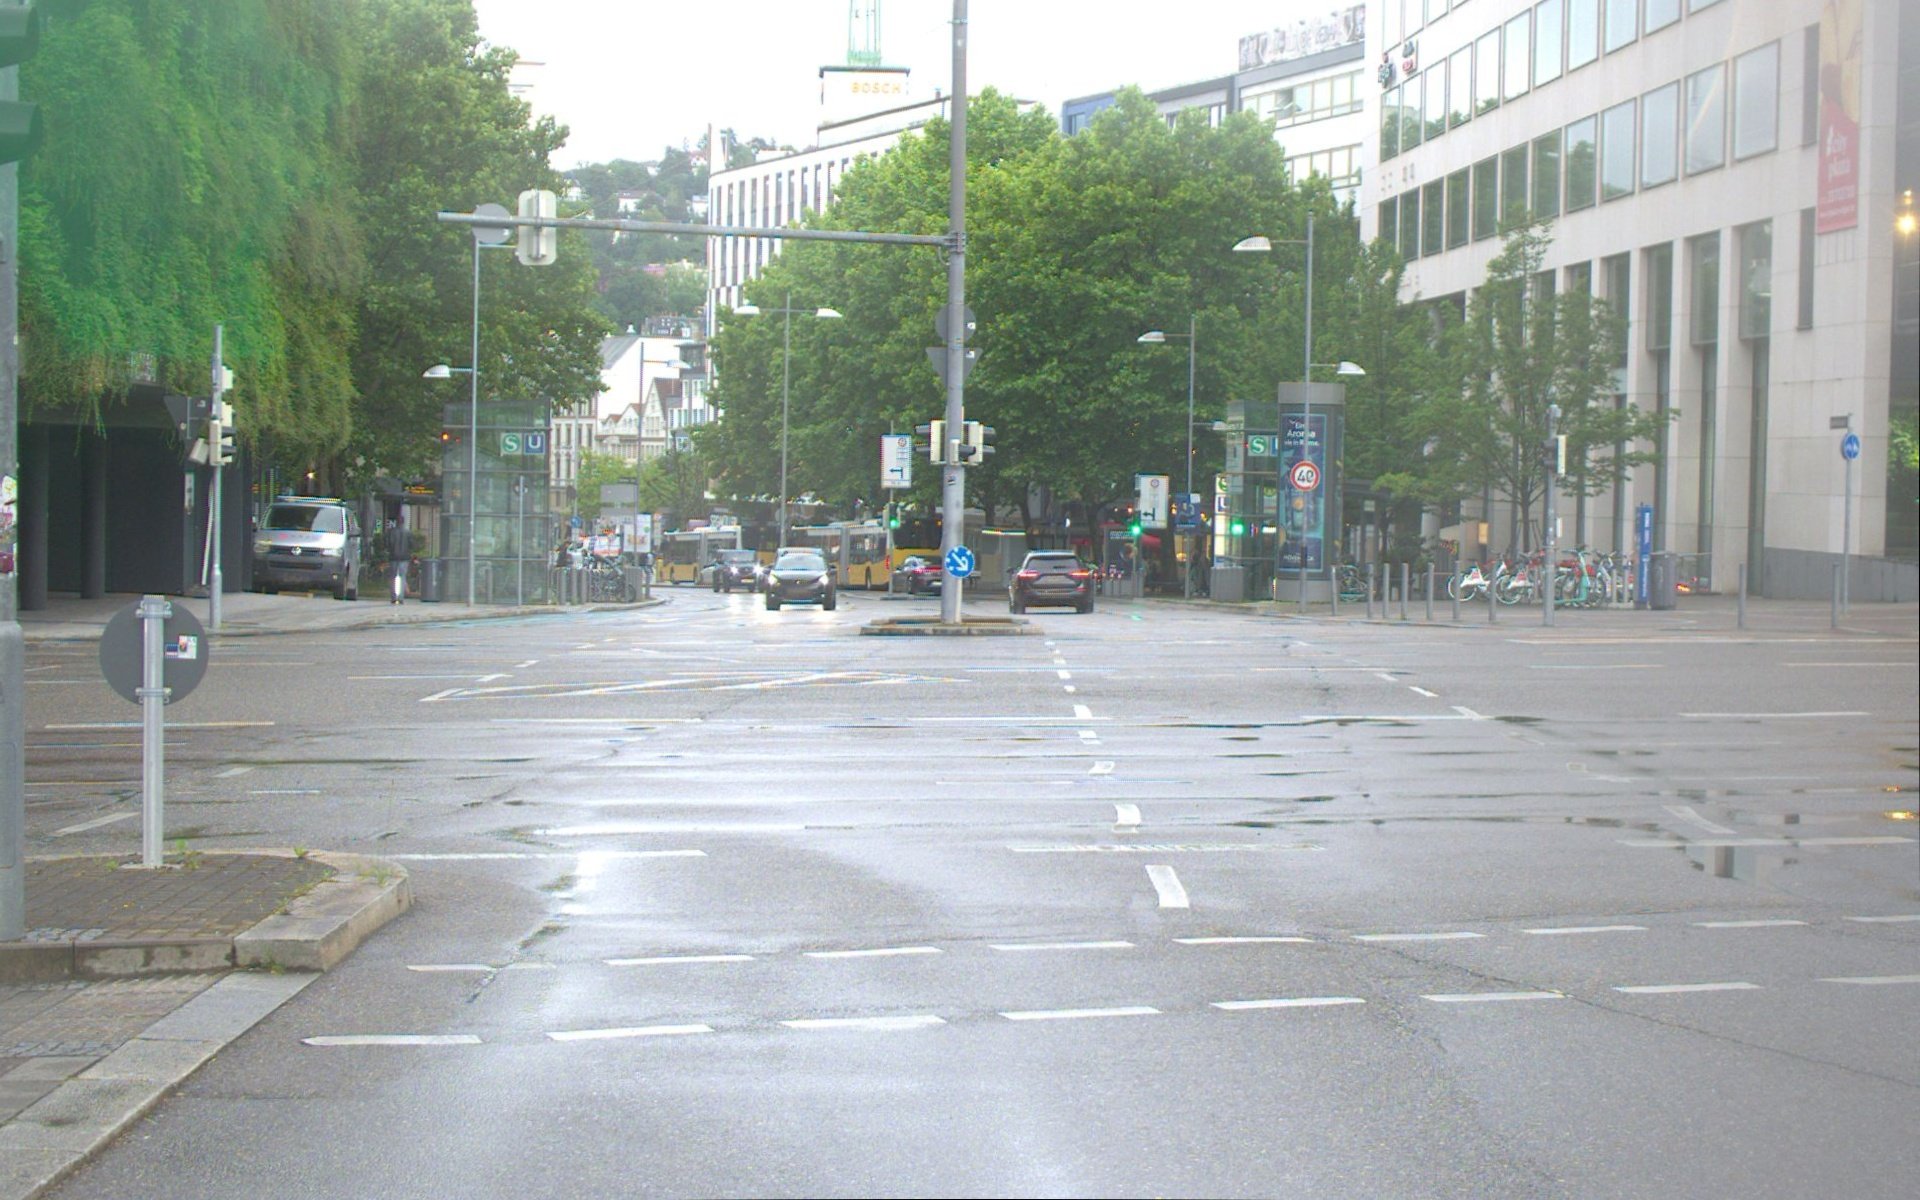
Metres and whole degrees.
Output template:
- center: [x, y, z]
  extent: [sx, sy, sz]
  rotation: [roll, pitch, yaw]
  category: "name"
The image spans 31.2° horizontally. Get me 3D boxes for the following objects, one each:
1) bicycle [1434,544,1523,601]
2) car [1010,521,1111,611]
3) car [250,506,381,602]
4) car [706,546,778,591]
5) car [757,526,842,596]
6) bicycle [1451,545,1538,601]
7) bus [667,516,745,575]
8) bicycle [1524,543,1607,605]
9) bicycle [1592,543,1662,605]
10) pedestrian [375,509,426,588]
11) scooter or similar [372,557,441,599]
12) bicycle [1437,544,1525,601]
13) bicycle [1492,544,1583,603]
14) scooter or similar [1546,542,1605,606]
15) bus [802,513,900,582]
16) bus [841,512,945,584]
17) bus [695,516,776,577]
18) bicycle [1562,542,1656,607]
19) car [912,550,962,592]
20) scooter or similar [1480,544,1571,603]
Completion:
- center: [10.976, -0.583, 72.770]
  extent: [1.777, 1.190, 0.586]
  rotation: [1, 0, 2]
  category: "bicycle"
- center: [2.371, -0.783, 79.777]
  extent: [1.545, 2.007, 4.666]
  rotation: [1, 1, 11]
  category: "car"
- center: [-12.778, -0.909, 68.326]
  extent: [1.870, 1.833, 4.000]
  rotation: [1, 1, -1]
  category: "car"
- center: [-8.727, -1.274, 137.408]
  extent: [2.163, 1.759, 5.113]
  rotation: [1, 1, -12]
  category: "car"
- center: [-4.287, -1.031, 91.265]
  extent: [2.164, 1.759, 5.112]
  rotation: [1, 1, -3]
  category: "car"
- center: [11.552, -0.591, 74.322]
  extent: [1.777, 1.190, 0.586]
  rotation: [1, 0, 2]
  category: "bicycle"
- center: [-13.369, -2.886, 180.324]
  extent: [2.627, 2.985, 7.451]
  rotation: [0, 1, -16]
  category: "bus"
- center: [11.691, -0.509, 66.392]
  extent: [0.584, 1.190, 1.784]
  rotation: [1, 1, -28]
  category: "bicycle"
- center: [12.995, -0.497, 66.949]
  extent: [0.586, 1.190, 1.779]
  rotation: [1, 1, 38]
  category: "bicycle"
- center: [-11.792, -1.081, 72.529]
  extent: [0.933, 1.638, 0.774]
  rotation: [1, 0, -1]
  category: "pedestrian"
- center: [-13.285, -0.536, 82.544]
  extent: [0.623, 1.001, 1.657]
  rotation: [1, 1, 38]
  category: "scooter or similar"
- center: [11.124, -0.587, 73.405]
  extent: [1.777, 1.190, 0.586]
  rotation: [1, 0, 2]
  category: "bicycle"
- center: [12.023, -0.557, 71.602]
  extent: [1.777, 1.190, 0.586]
  rotation: [1, 0, 2]
  category: "bicycle"
- center: [11.480, -0.490, 64.155]
  extent: [0.963, 1.190, 0.454]
  rotation: [1, 1, 40]
  category: "scooter or similar"
- center: [-4.913, -2.358, 153.083]
  extent: [2.627, 2.985, 7.451]
  rotation: [0, 1, -16]
  category: "bus"
- center: [-2.899, -2.217, 145.937]
  extent: [2.627, 2.985, 7.451]
  rotation: [0, 1, -16]
  category: "bus"
- center: [-11.354, -2.702, 173.228]
  extent: [2.627, 2.985, 7.330]
  rotation: [0, 1, -16]
  category: "bus"
- center: [12.234, -0.486, 64.839]
  extent: [1.624, 1.190, 0.586]
  rotation: [1, 0, 26]
  category: "bicycle"
- center: [-0.861, -1.091, 127.623]
  extent: [1.781, 1.503, 4.000]
  rotation: [1, 1, -1]
  category: "car"
- center: [11.669, -0.556, 70.979]
  extent: [1.777, 1.190, 0.586]
  rotation: [1, 0, 2]
  category: "scooter or similar"
